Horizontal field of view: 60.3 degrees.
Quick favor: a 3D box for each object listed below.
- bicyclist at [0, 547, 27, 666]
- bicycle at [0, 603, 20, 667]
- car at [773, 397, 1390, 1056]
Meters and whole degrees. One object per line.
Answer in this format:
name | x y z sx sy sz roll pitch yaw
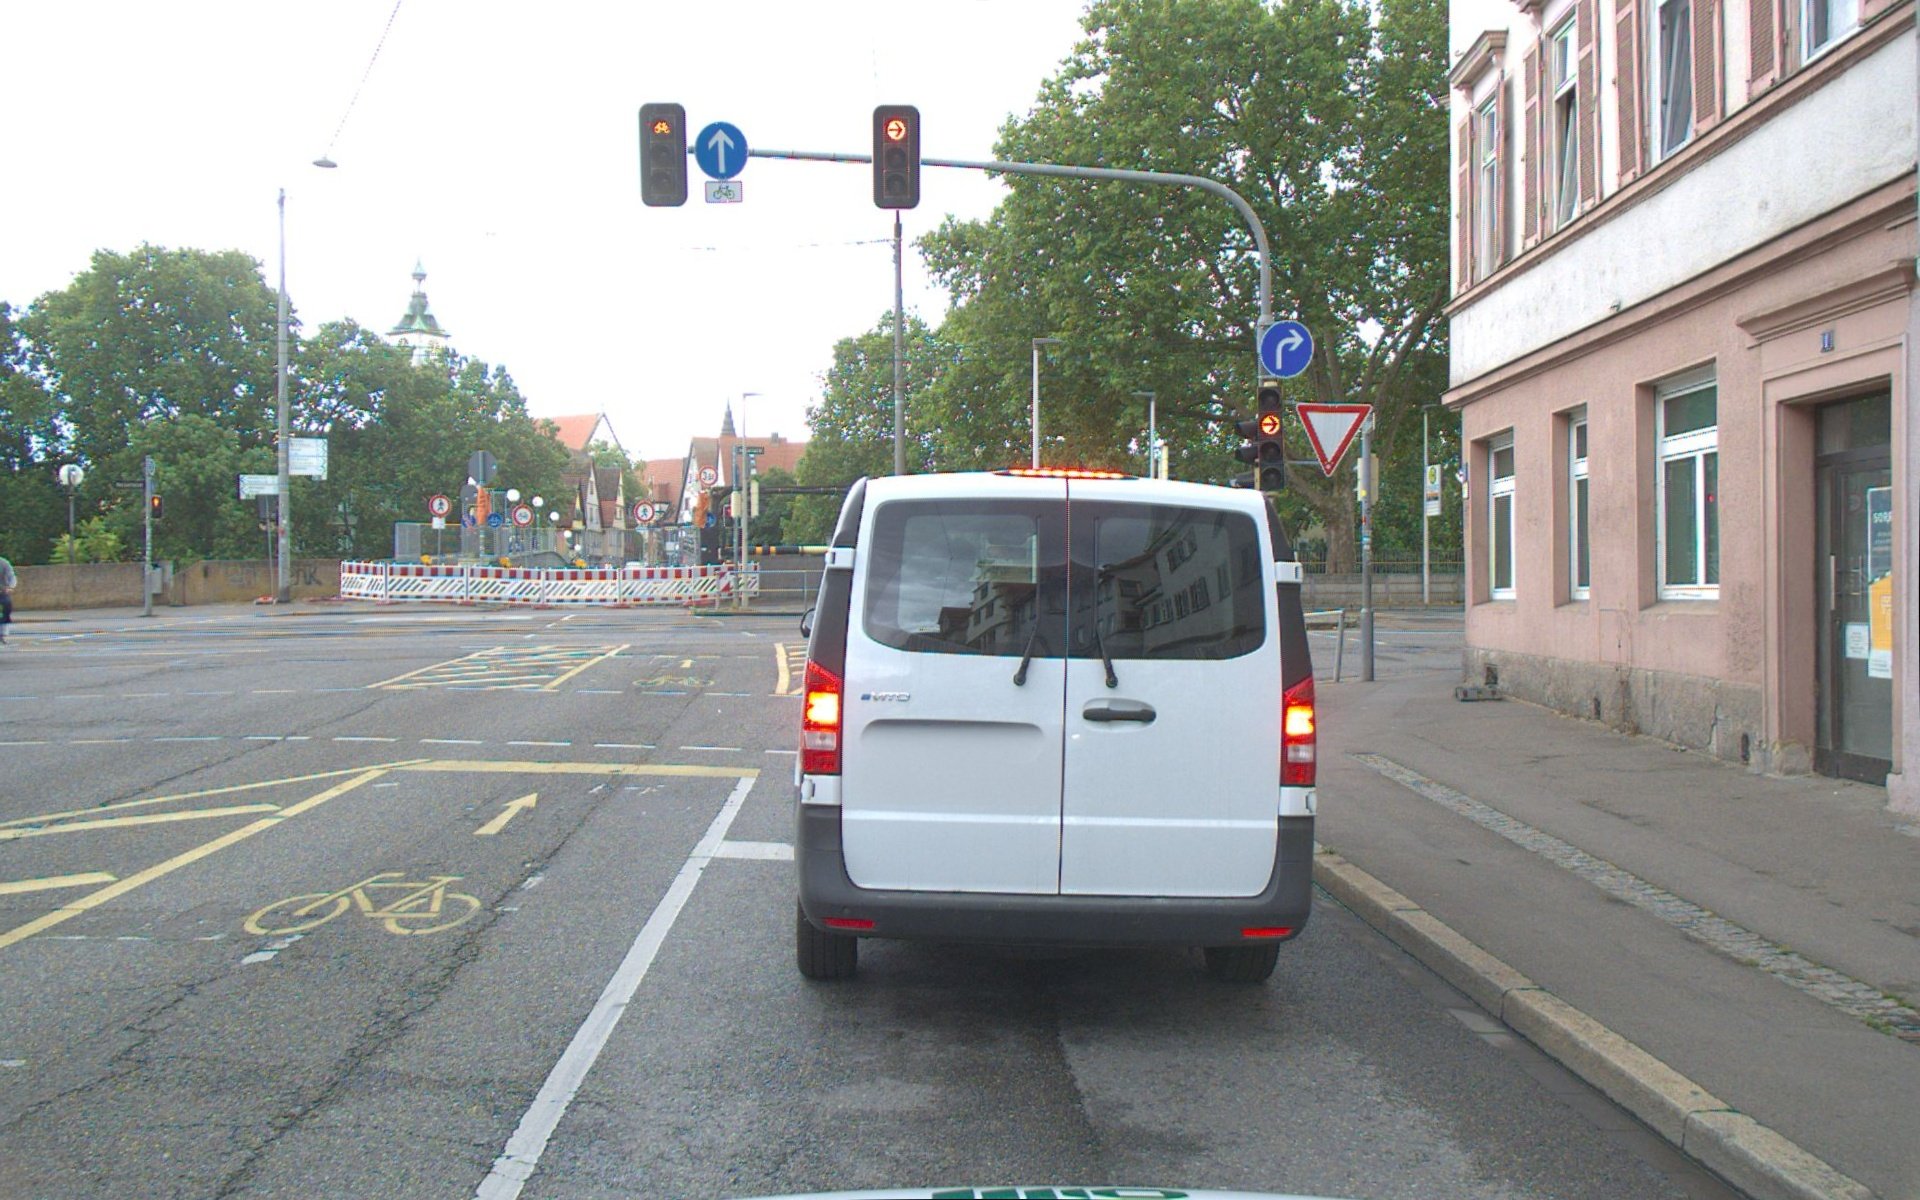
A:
bicyclist | -14.245 0.092 24.478 0.715 1.730 0.803 -1 0 -28
bicycle | -14.256 0.506 24.489 0.535 0.908 1.862 -1 1 -28
car | 0.350 0.339 7.556 1.911 2.048 4.698 1 2 -1
